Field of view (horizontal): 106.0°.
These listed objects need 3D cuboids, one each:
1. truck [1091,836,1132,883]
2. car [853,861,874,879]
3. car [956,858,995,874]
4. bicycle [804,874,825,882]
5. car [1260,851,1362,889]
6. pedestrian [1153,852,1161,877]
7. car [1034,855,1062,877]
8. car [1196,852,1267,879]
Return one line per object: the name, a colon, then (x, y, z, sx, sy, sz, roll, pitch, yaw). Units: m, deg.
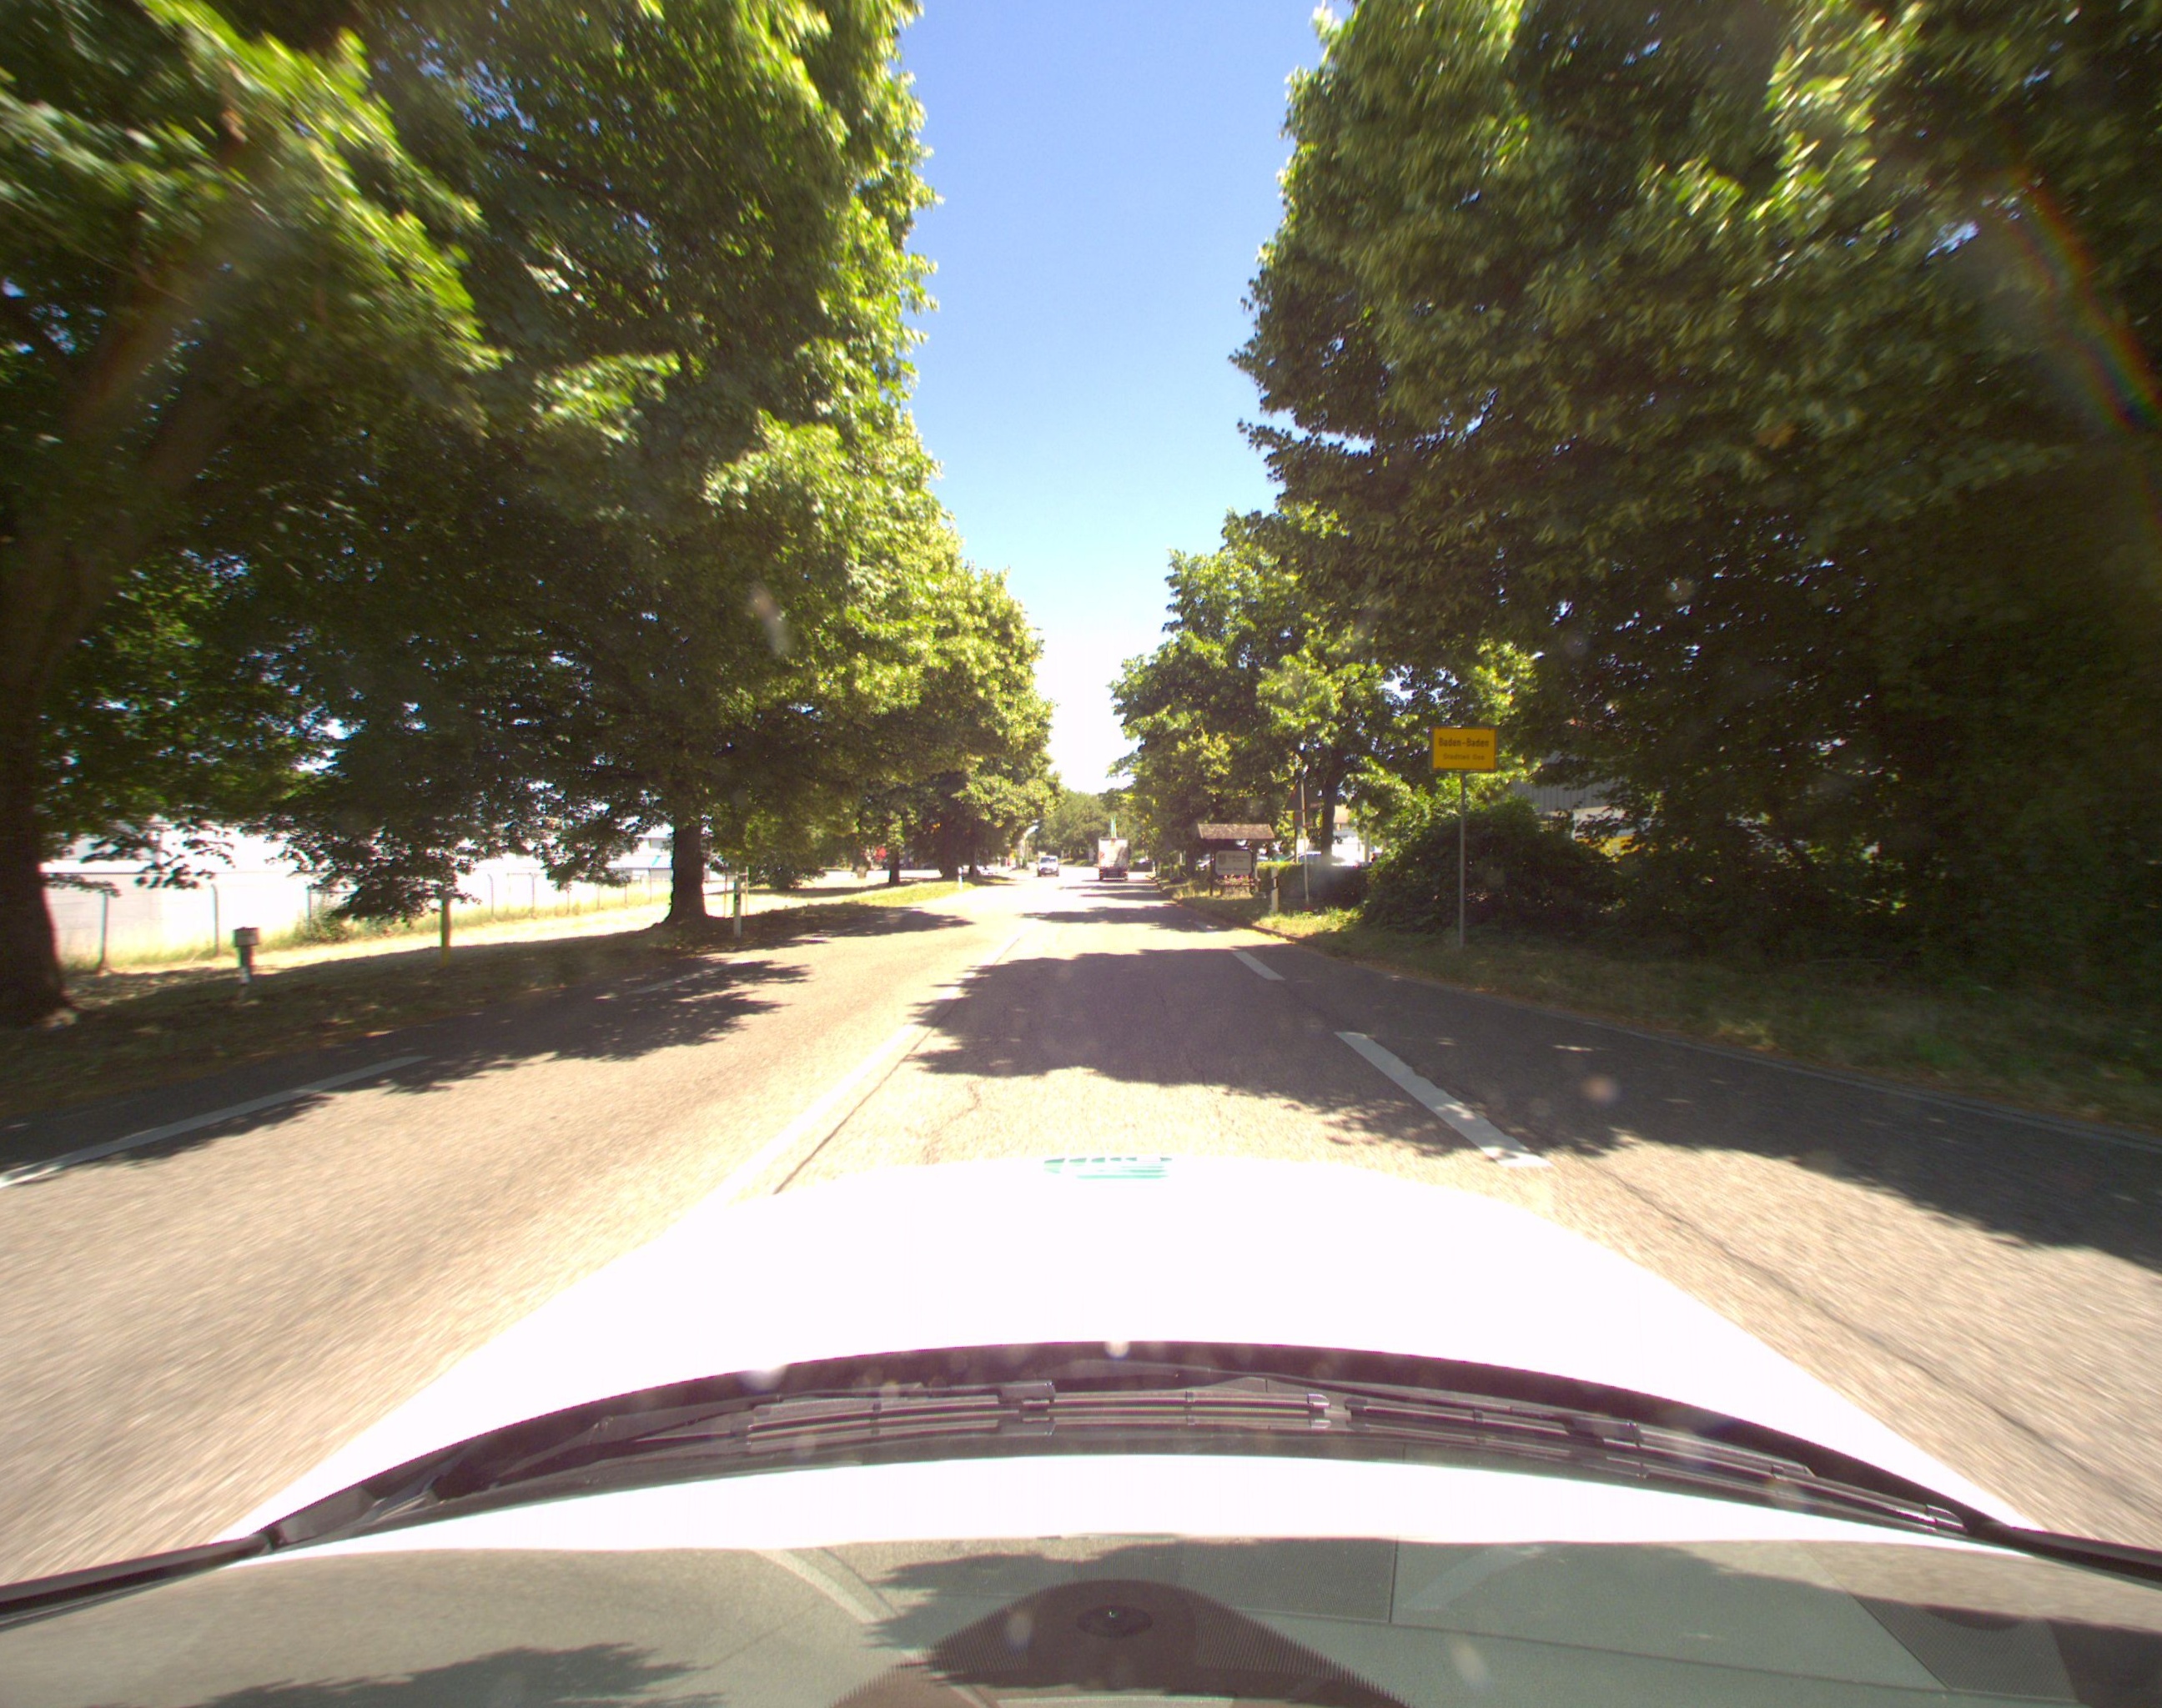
truck: (2.246, 0.330, 57.938, 2.521, 3.135, 5.370, -1, 0, 6)
car: (-19.482, 1.415, 73.070, 1.738, 1.585, 3.982, -1, 0, -13)
car: (-9.555, 1.085, 73.730, 3.390, 1.362, 1.343, -1, -1, 30)
bicycle: (-23.624, 2.110, 72.180, 1.669, 0.646, 0.424, -1, -1, -4)
car: (9.779, 0.684, 34.813, 3.920, 1.564, 1.798, 0, -1, 1)
pedestrian: (5.524, 0.760, 59.482, 0.545, 1.776, 0.578, -1, -1, 6)
car: (-3.001, 1.045, 72.942, 1.992, 1.857, 5.300, -1, -1, -8)
car: (9.246, 0.719, 50.315, 4.092, 1.576, 1.867, -1, -1, 1)
